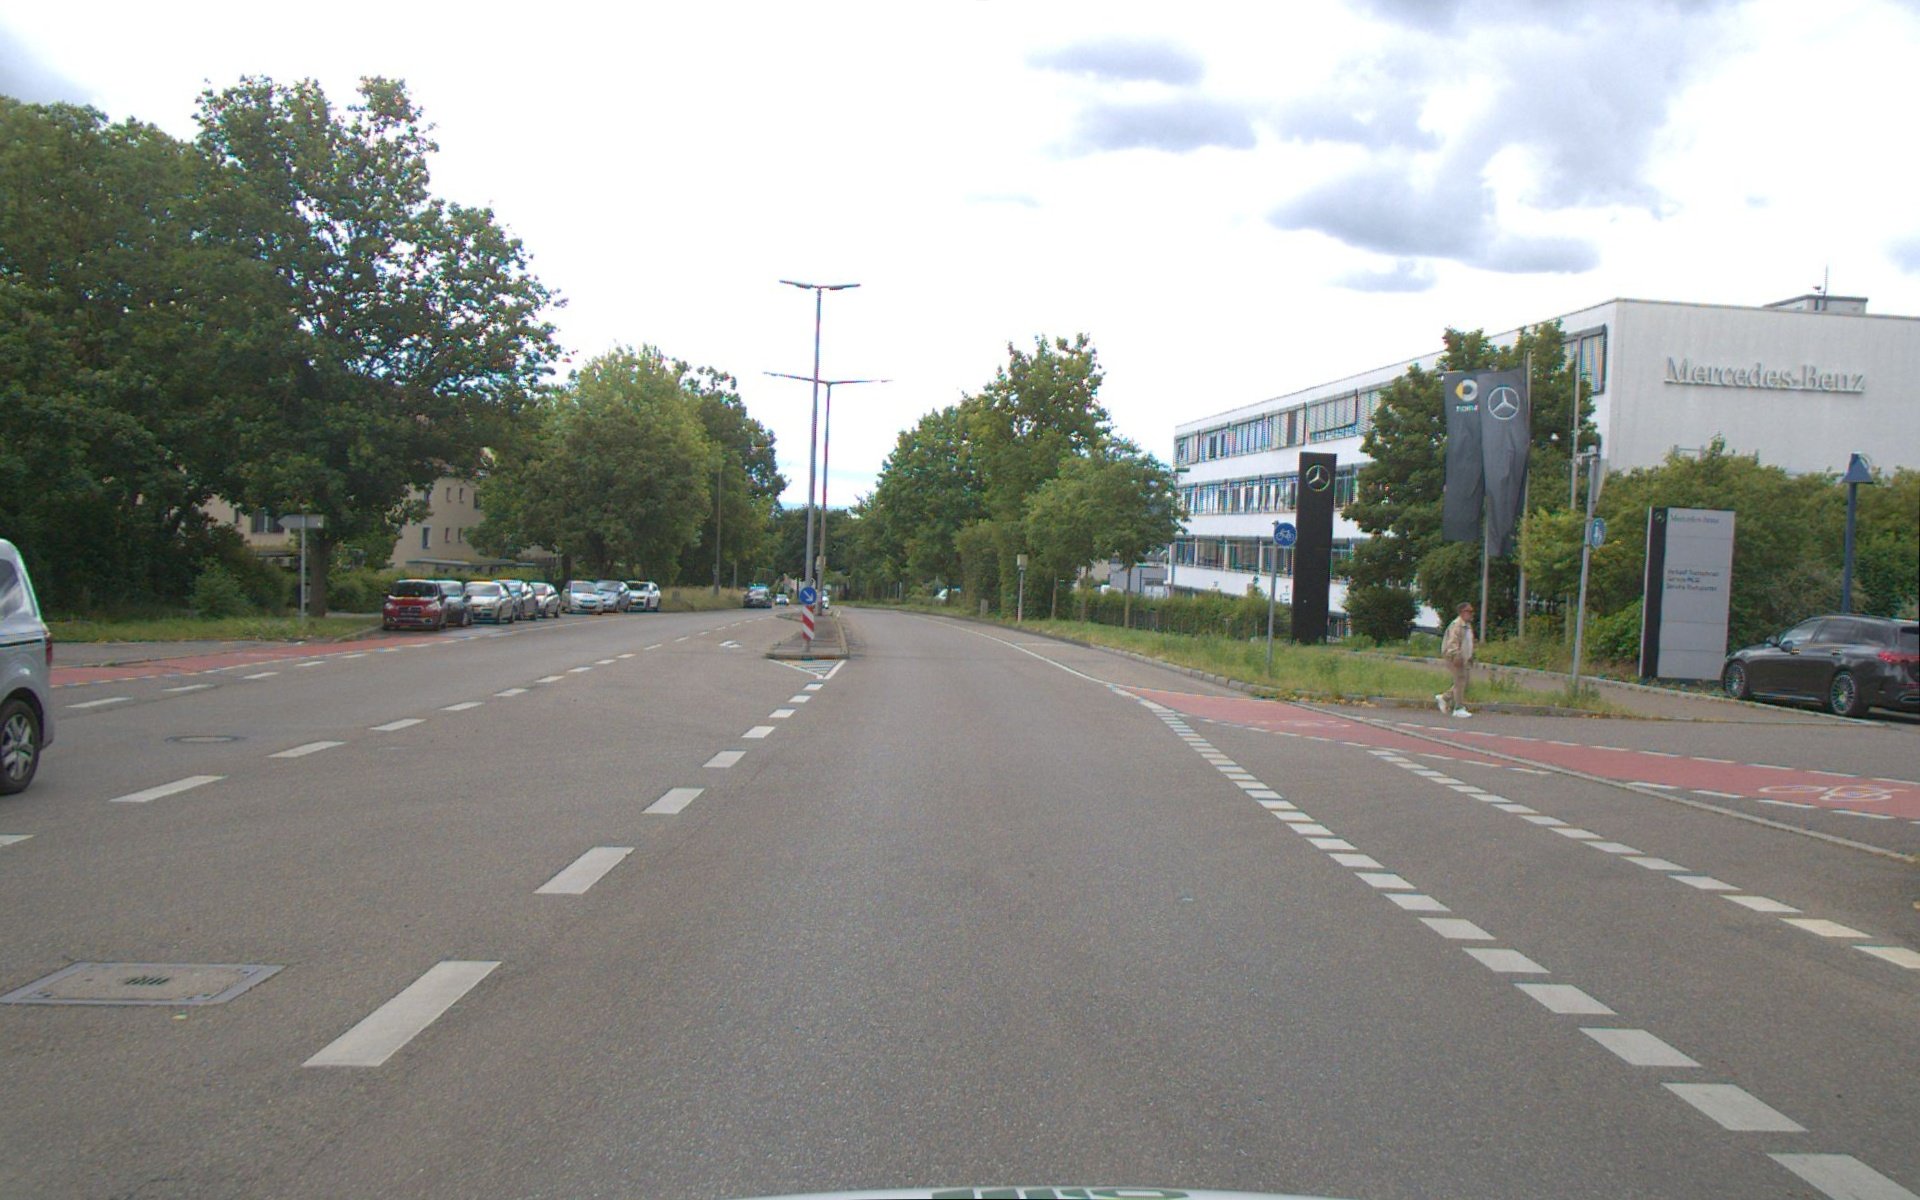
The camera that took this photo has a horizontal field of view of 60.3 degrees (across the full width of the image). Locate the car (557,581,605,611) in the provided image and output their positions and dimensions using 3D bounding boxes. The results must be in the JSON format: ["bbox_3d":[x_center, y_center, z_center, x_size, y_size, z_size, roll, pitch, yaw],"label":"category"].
[{"bbox_3d":[-18.328,-0.227,79.889,1.649,1.327,3.975,2,0,-21],"label":"car"}]

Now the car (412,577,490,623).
[{"bbox_3d":[-16.827,-0.021,54.822,1.640,1.427,3.995,2,0,-6],"label":"car"}]

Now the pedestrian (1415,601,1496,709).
[{"bbox_3d":[7.004,0.772,23.389,0.777,1.489,0.744,1,0,-21],"label":"pedestrian"}]

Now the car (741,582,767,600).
[{"bbox_3d":[-16.101,-0.701,129.335,1.736,1.327,3.998,2,0,-3],"label":"car"}]

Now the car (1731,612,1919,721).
[{"bbox_3d":[13.285,0.925,24.384,1.676,1.377,4.343,2,1,-2],"label":"car"}]

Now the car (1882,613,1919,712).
[{"bbox_3d":[15.977,1.059,24.834,1.676,1.534,4.343,4,0,-2],"label":"car"}]

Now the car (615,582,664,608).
[{"bbox_3d":[-17.387,-0.269,89.898,1.638,1.327,4.002,2,0,3],"label":"car"}]

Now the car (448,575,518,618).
[{"bbox_3d":[-17.082,-0.128,59.389,1.640,1.427,3.995,2,0,-6],"label":"car"}]

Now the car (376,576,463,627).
[{"bbox_3d":[-16.354,0.037,50.227,1.640,1.427,3.995,2,0,-6],"label":"car"}]

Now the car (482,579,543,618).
[{"bbox_3d":[-17.650,-0.079,65.402,1.640,1.427,3.995,2,0,-6],"label":"car"}]

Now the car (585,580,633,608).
[{"bbox_3d":[-17.971,-0.332,84.884,1.639,1.327,3.999,2,0,-1],"label":"car"}]

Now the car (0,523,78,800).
[{"bbox_3d":[-7.200,0.425,9.692,1.809,1.835,4.647,0,1,-4],"label":"car"}]

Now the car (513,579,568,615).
[{"bbox_3d":[-17.922,-0.135,70.751,1.640,1.427,3.995,2,0,-6],"label":"car"}]

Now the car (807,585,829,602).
[{"bbox_3d":[-11.763,-0.579,137.004,1.580,1.327,3.998,2,0,-3],"label":"car"}]
